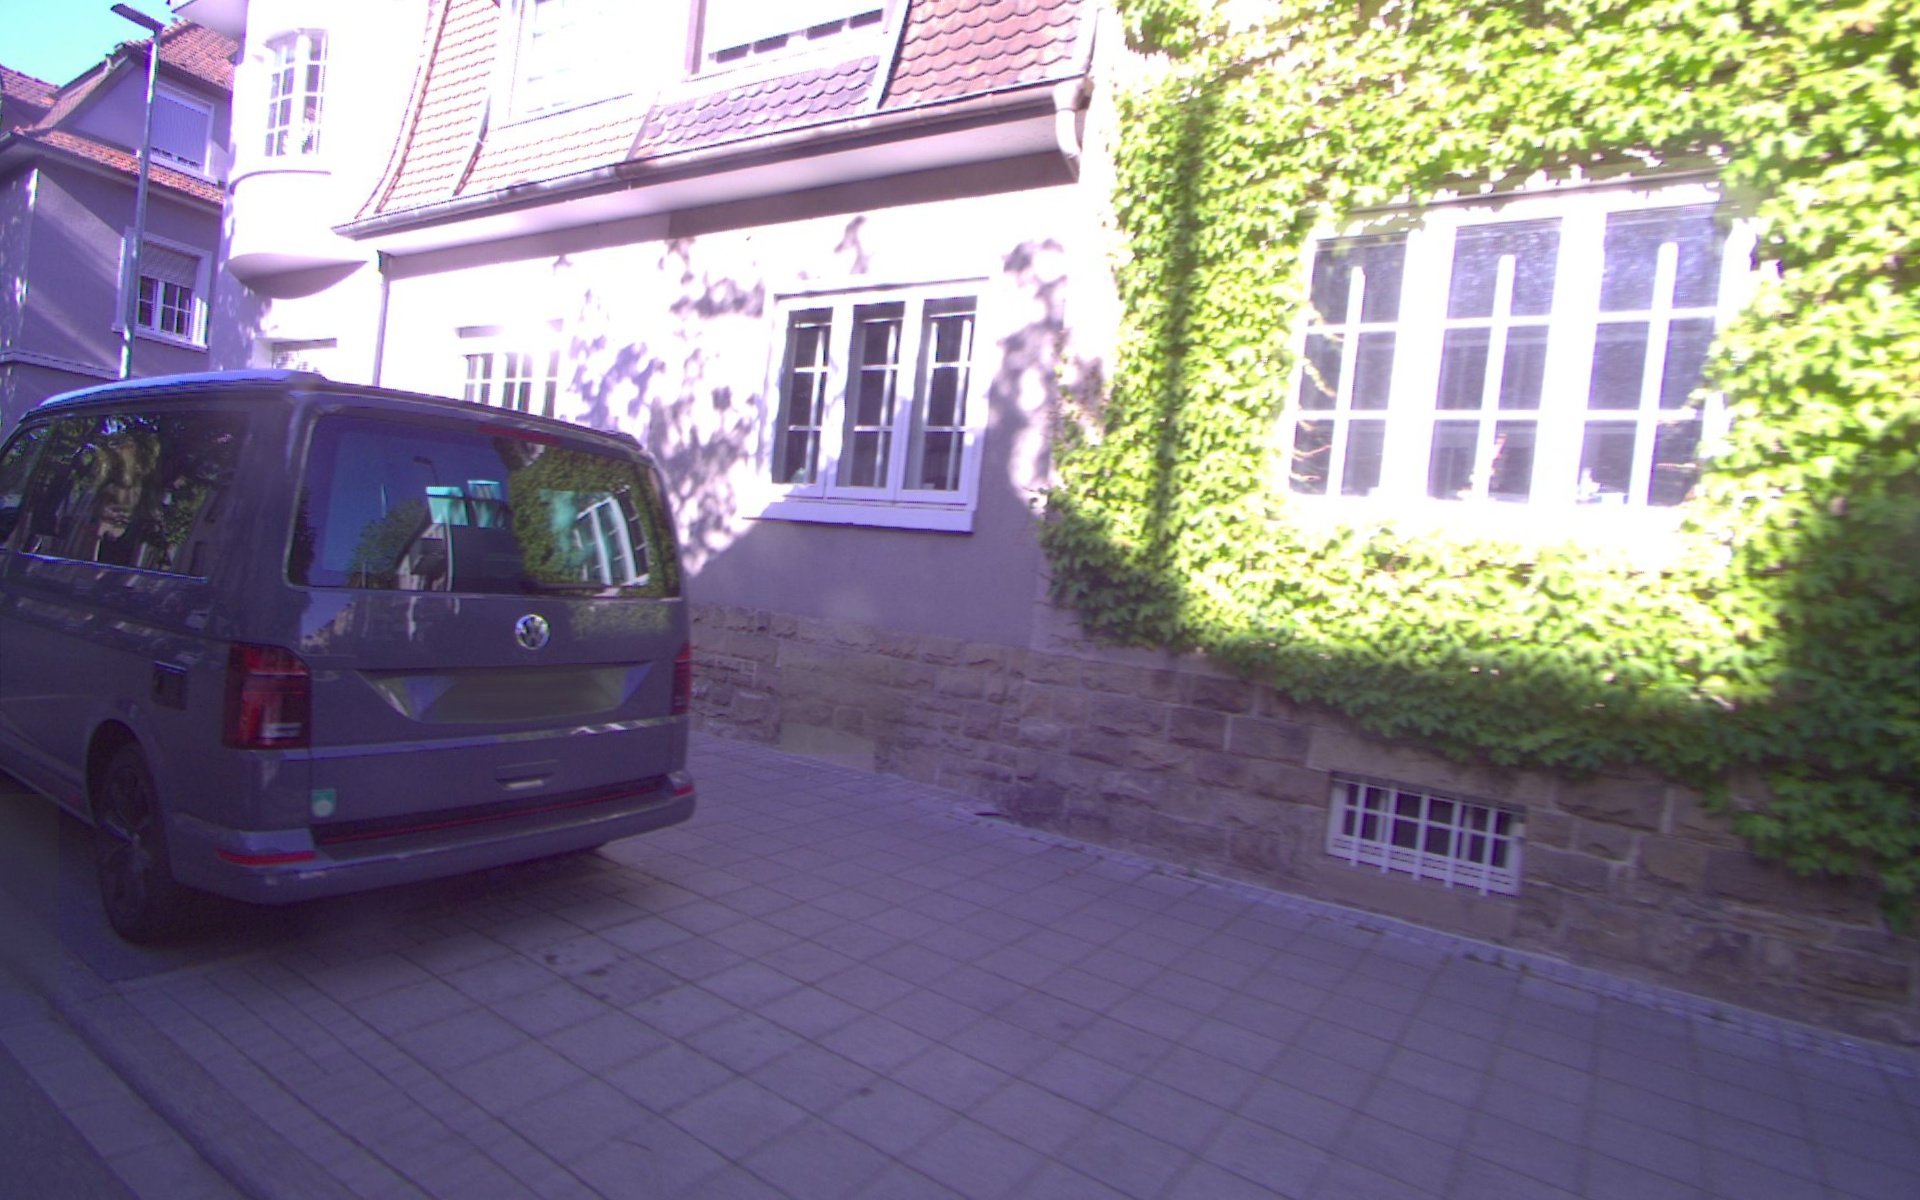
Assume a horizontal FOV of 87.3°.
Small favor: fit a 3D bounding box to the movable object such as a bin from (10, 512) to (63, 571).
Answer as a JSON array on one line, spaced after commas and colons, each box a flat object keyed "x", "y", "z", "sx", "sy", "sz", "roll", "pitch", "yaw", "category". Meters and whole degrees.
[{"x": -18.062, "y": -1.146, "z": 19.679, "sx": 0.608, "sy": 1.053, "sz": 0.568, "roll": 7, "pitch": 2, "yaw": 32, "category": "movable object such as a bin"}]

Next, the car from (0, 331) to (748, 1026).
[{"x": -3.430, "y": 0.054, "z": 4.903, "sx": 4.706, "sy": 1.941, "sz": 1.864, "roll": 6, "pitch": 2, "yaw": 35, "category": "car"}]

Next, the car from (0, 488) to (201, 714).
[{"x": -7.970, "y": -0.182, "z": 7.907, "sx": 4.365, "sy": 1.476, "sz": 1.680, "roll": 6, "pitch": 1, "yaw": 32, "category": "car"}]

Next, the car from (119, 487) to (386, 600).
[{"x": -14.596, "y": -1.109, "z": 20.981, "sx": 1.737, "sy": 1.866, "sz": 4.139, "roll": 6, "pitch": 0, "yaw": 34, "category": "car"}]
